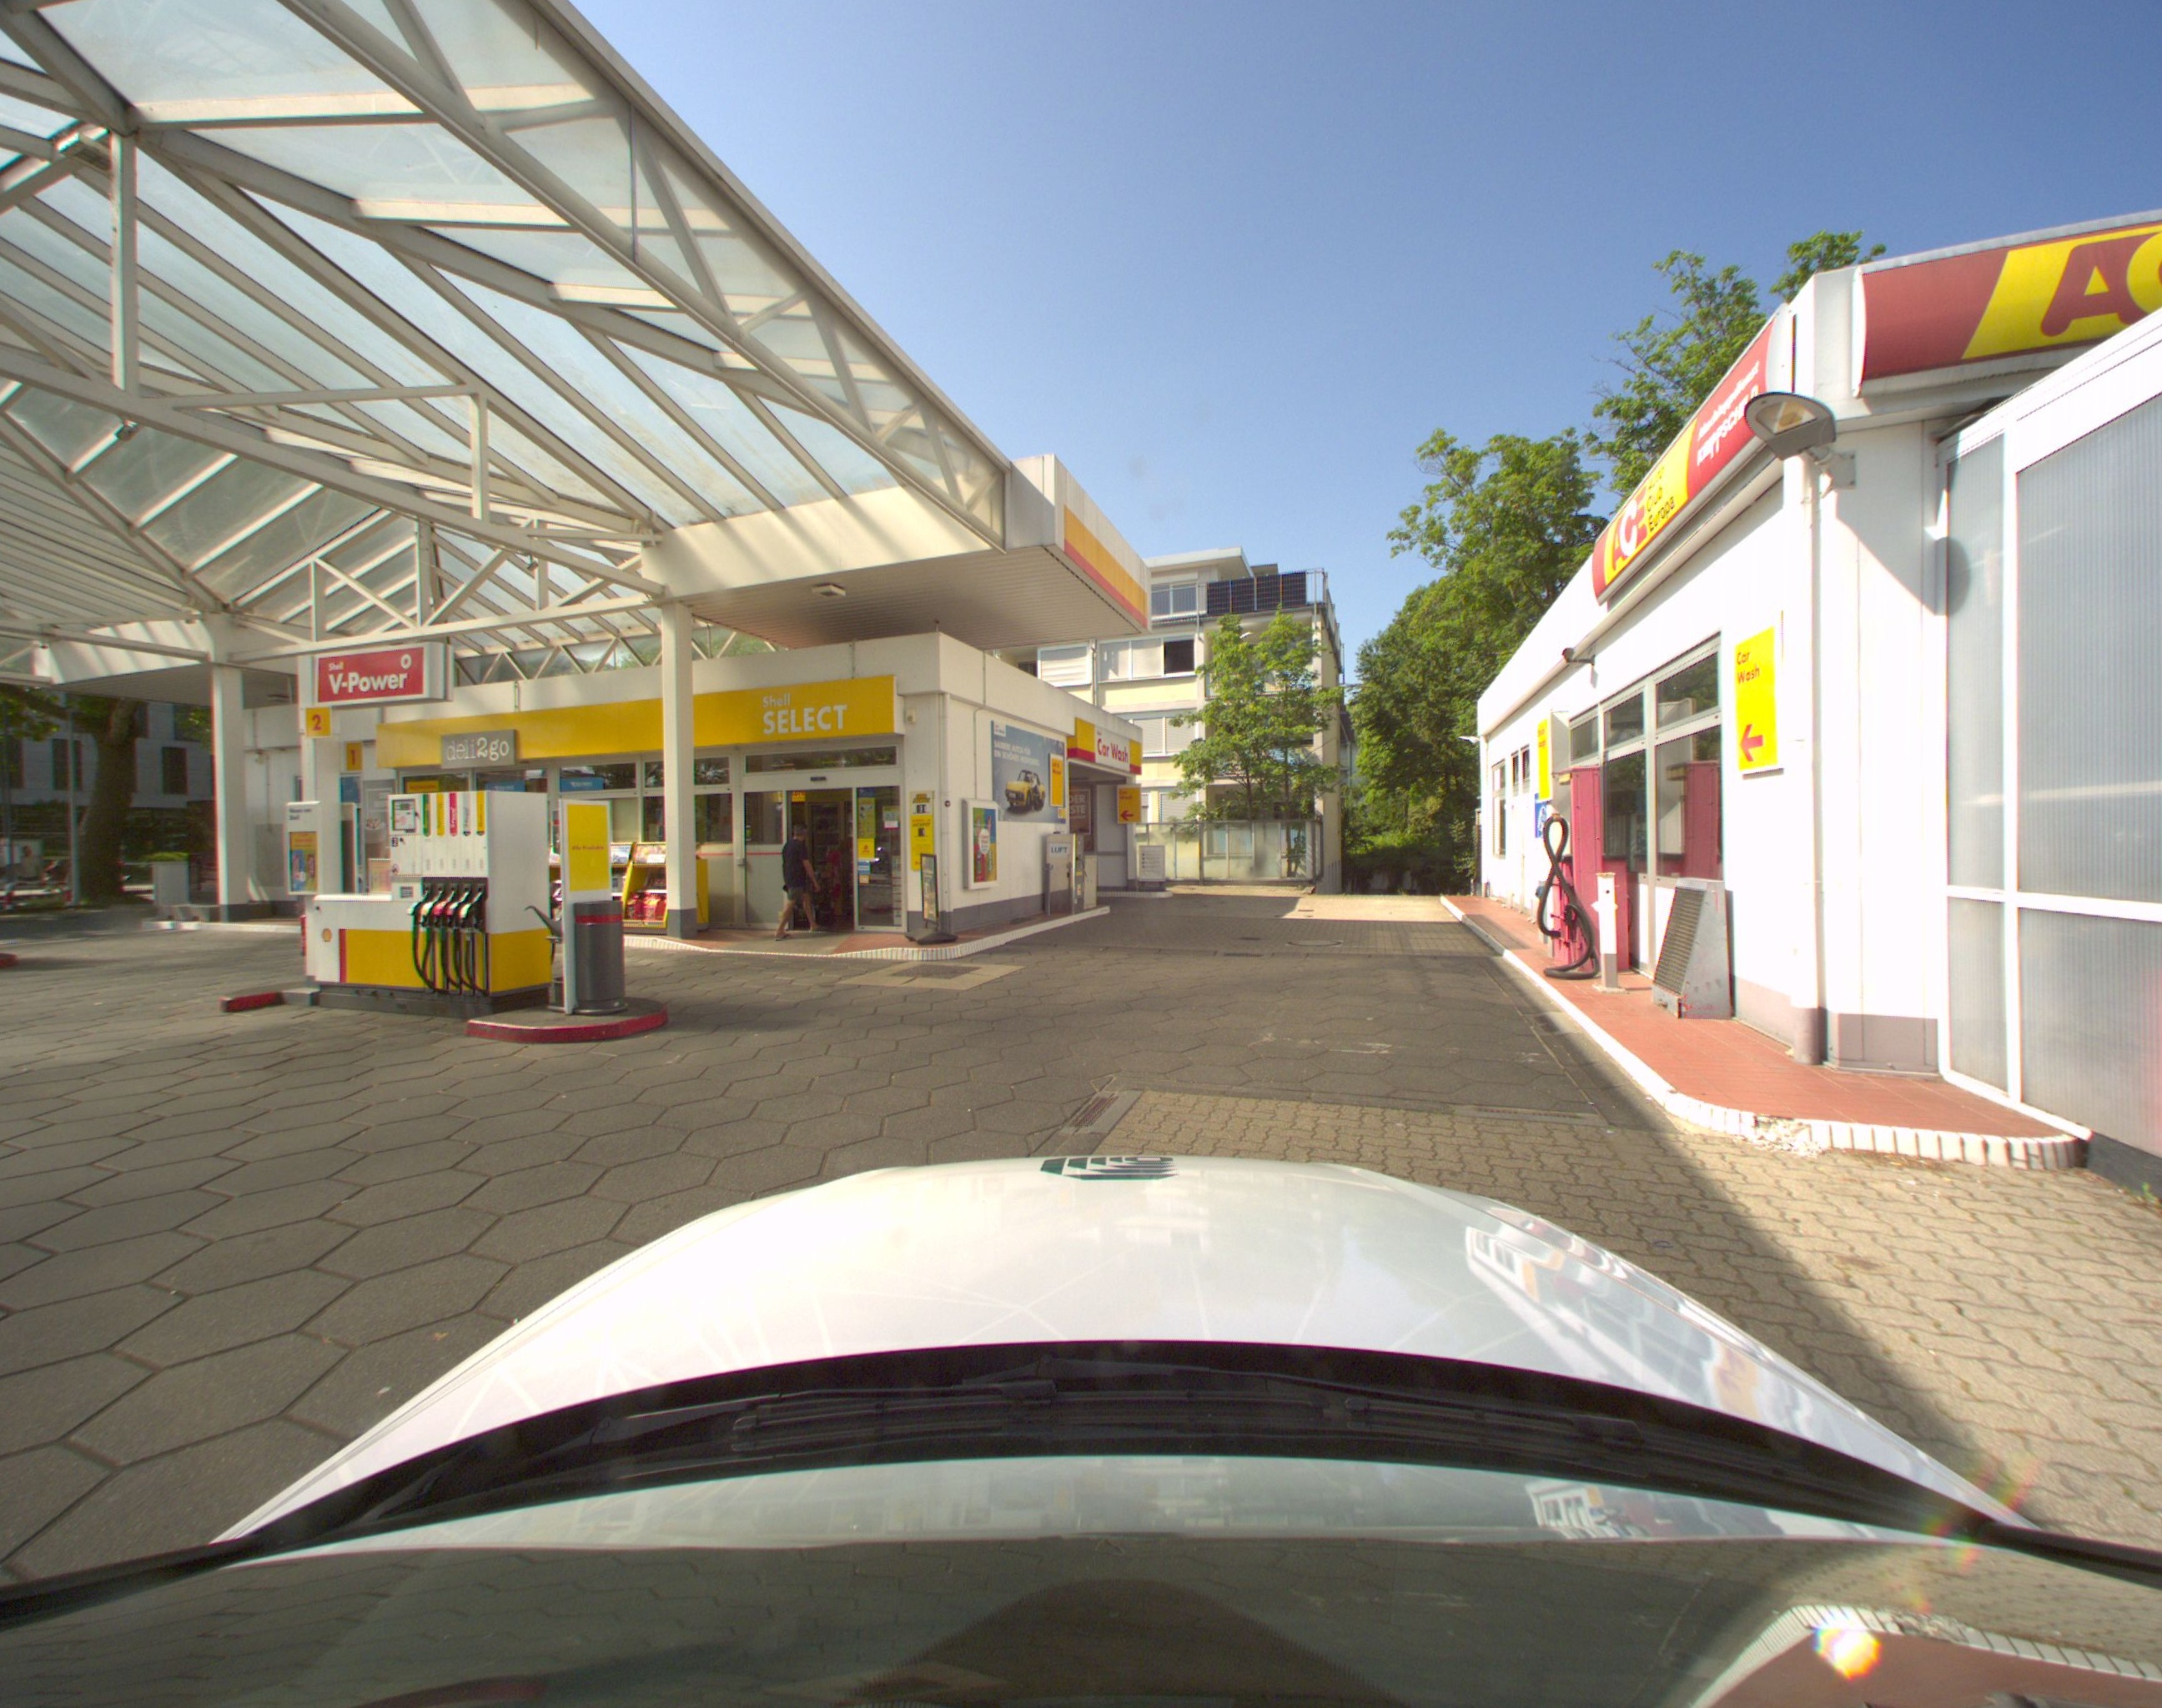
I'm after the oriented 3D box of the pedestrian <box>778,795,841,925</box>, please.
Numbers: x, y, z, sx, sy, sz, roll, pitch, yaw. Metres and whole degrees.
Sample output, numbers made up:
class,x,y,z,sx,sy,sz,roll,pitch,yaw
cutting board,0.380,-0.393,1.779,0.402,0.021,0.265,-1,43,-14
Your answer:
class,x,y,z,sx,sy,sz,roll,pitch,yaw
pedestrian,-4.314,0.090,12.964,0.617,2.013,0.745,-1,1,11

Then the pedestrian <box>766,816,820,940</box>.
class,x,y,z,sx,sy,sz,roll,pitch,yaw
pedestrian,-4.179,0.339,11.853,0.570,1.761,0.530,-1,0,-1

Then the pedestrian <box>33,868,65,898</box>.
class,x,y,z,sx,sy,sz,roll,pitch,yaw
pedestrian,-39.290,1.099,31.001,0.517,1.138,0.634,-1,1,26
